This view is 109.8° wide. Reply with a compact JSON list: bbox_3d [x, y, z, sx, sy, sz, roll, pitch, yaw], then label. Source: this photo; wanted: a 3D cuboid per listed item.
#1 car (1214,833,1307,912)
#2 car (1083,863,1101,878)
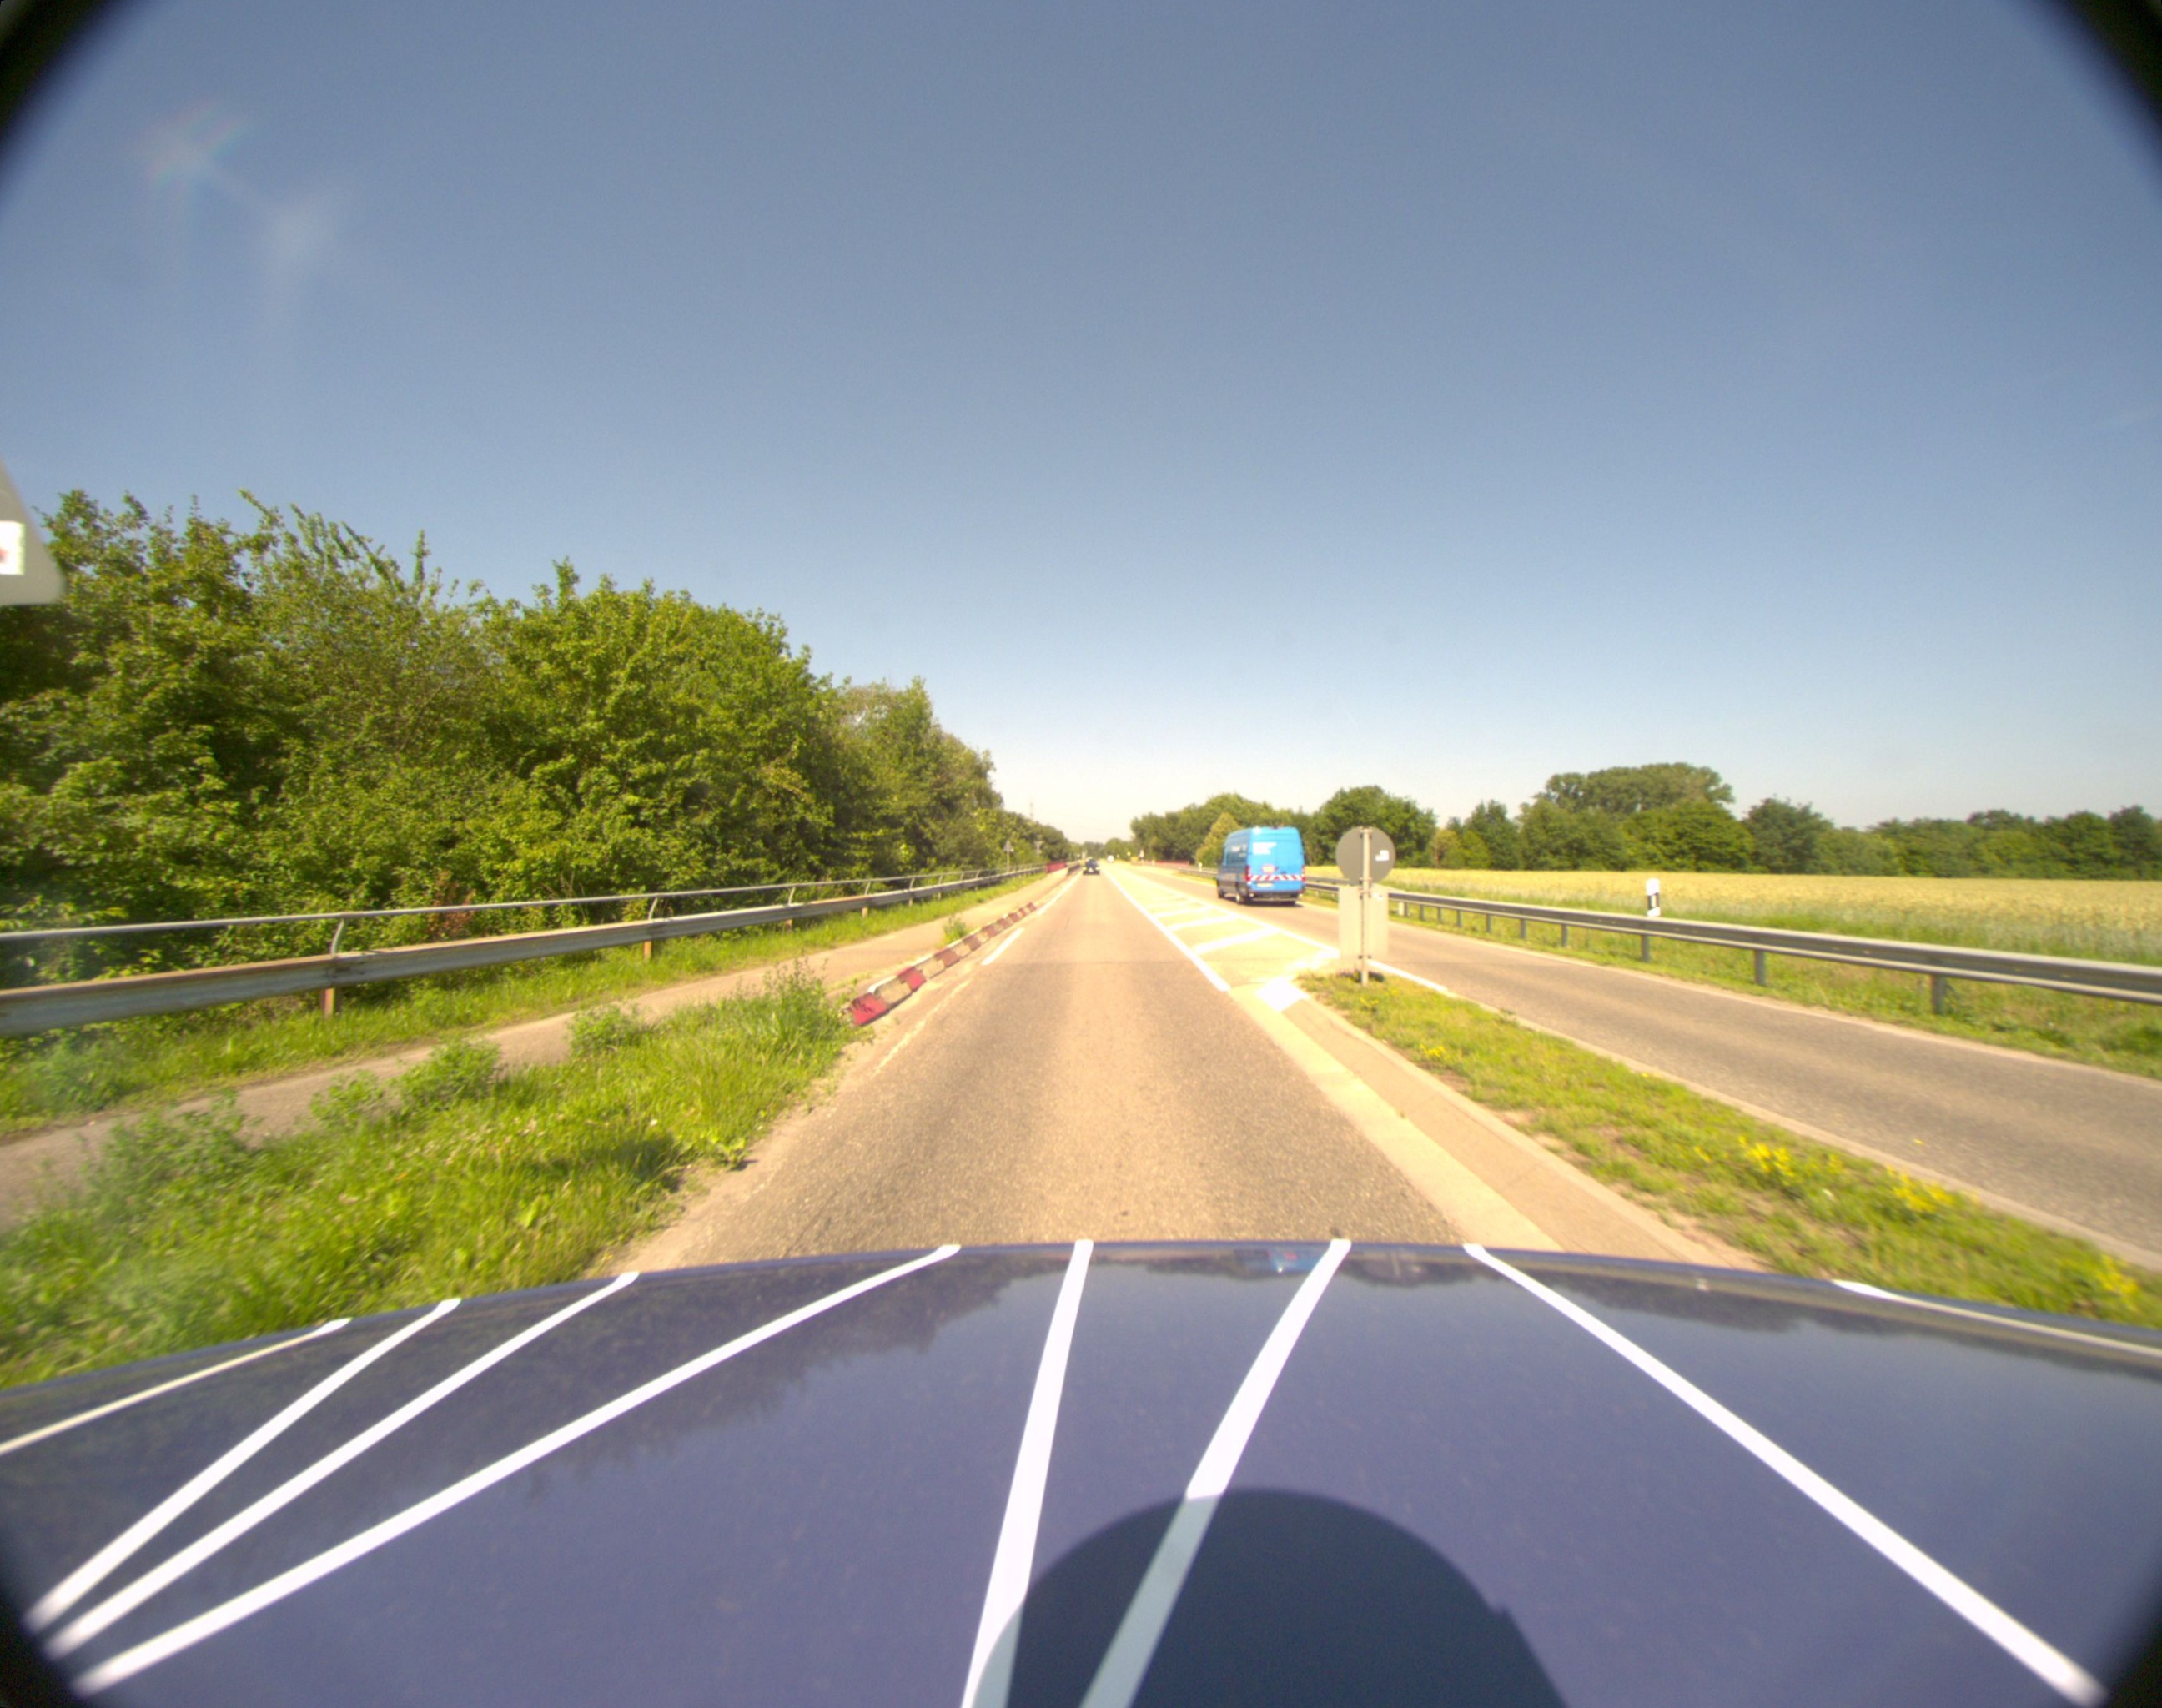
[{"bbox_3d":[6.507,0.634,28.460,1.998,2.595,7.292,0,0,2],"label":"car"},{"bbox_3d":[1.190,1.695,79.200,1.806,1.390,4.181,-1,0,2],"label":"car"}]
